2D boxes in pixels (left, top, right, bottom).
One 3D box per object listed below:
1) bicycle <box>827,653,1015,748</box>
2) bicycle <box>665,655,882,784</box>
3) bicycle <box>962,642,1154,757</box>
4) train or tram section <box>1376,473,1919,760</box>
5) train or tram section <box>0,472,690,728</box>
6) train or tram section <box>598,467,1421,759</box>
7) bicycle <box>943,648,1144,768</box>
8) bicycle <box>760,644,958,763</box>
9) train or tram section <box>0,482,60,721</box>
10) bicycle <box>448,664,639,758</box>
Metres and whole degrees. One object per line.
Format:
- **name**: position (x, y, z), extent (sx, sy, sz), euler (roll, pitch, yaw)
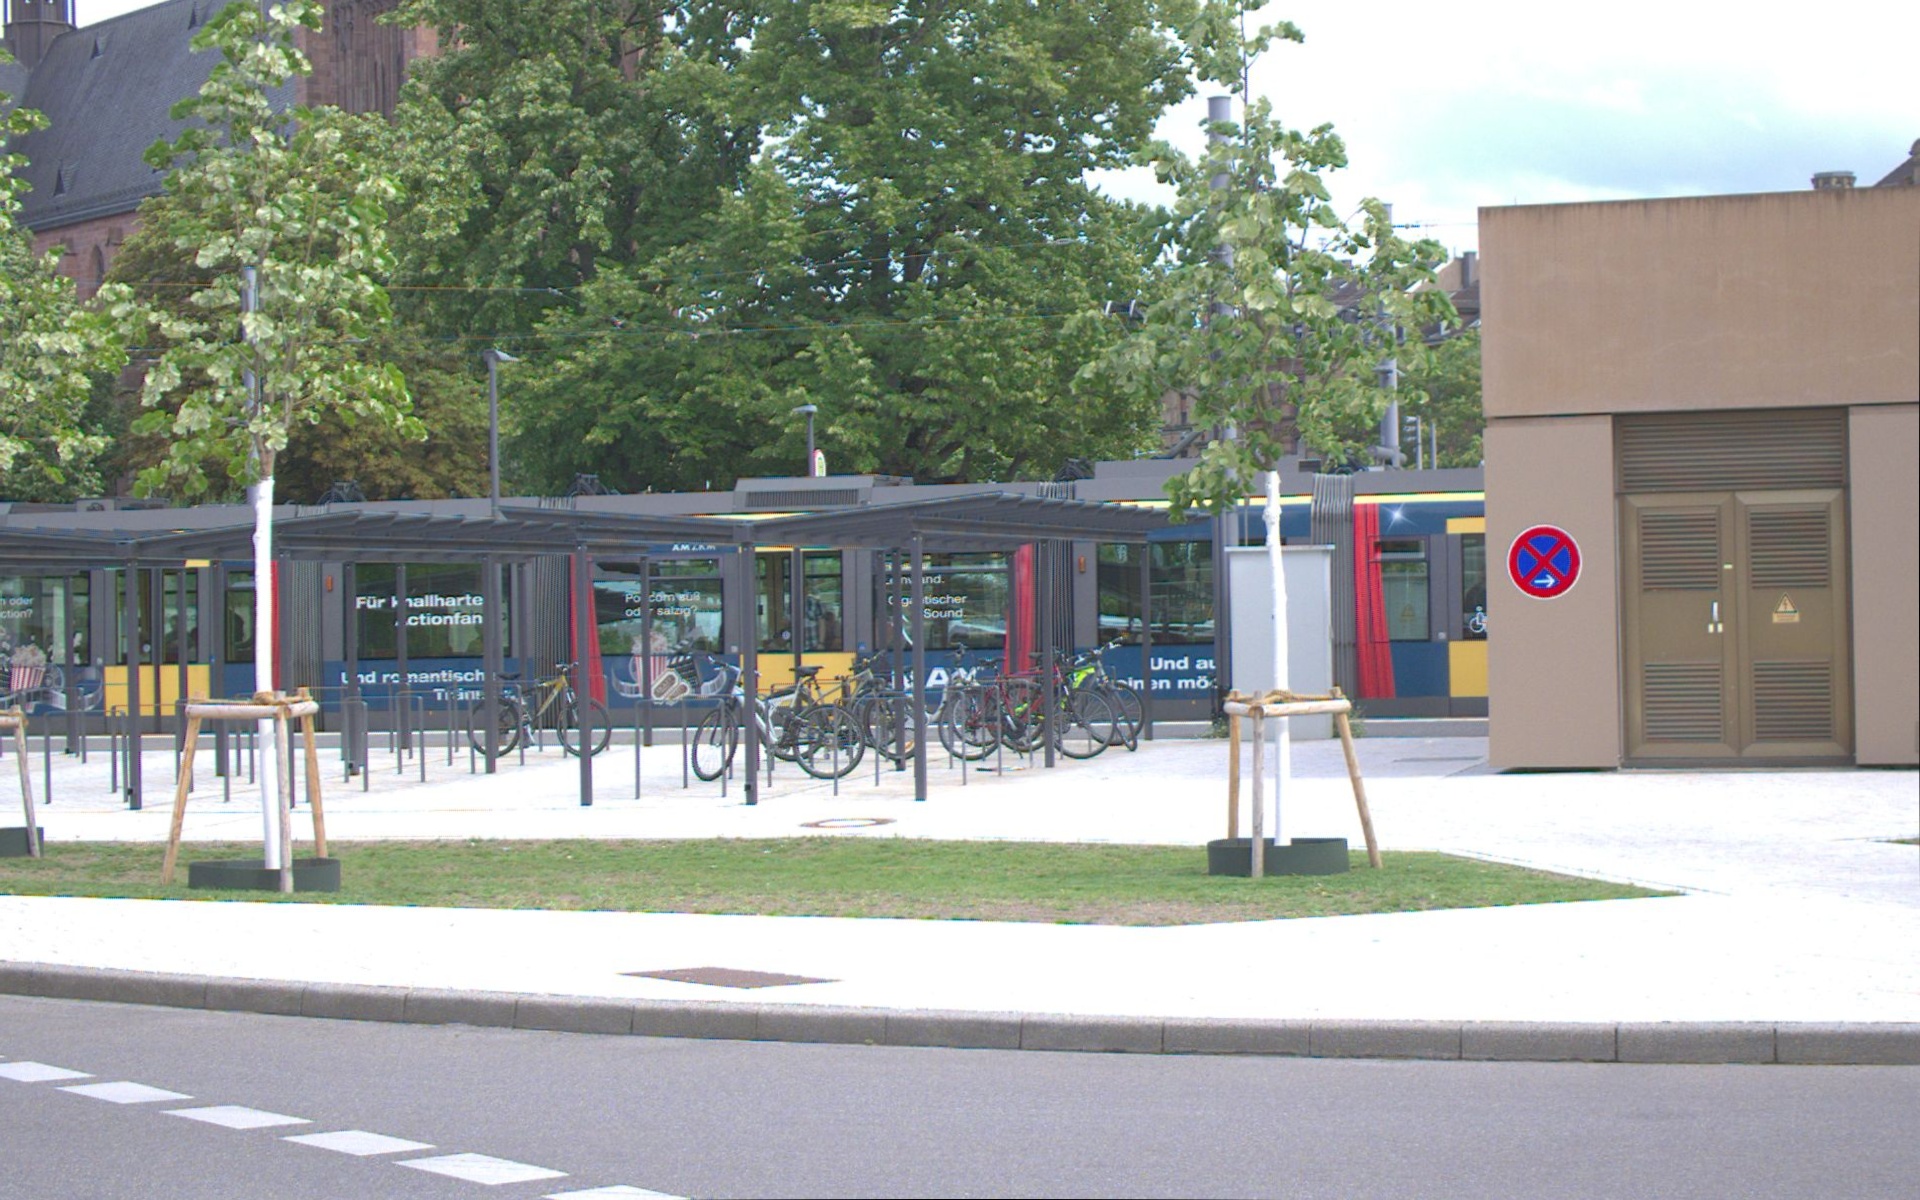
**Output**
- **bicycle**: position (-0.422, 1.085, 37.263), extent (1.961, 0.967, 0.584), euler (1, 1, 13)
- **bicycle**: position (-1.751, 1.119, 32.366), extent (1.960, 1.152, 0.584), euler (0, 1, 7)
- **bicycle**: position (1.028, 1.035, 35.891), extent (1.960, 1.152, 0.584), euler (0, 1, 7)
- **train or tram section**: position (9.881, 0.140, 40.729), extent (9.478, 3.235, 3.060), euler (1, 1, 15)
- **train or tram section**: position (-8.562, -0.087, 45.886), extent (9.406, 3.202, 3.060), euler (1, 1, 15)
- **train or tram section**: position (0.638, 0.061, 43.316), extent (9.905, 3.438, 3.060), euler (1, 1, 15)
- **bicycle**: position (0.841, 1.073, 34.447), extent (1.960, 1.152, 0.584), euler (0, 1, 7)
- **bicycle**: position (-1.025, 1.049, 35.054), extent (1.960, 1.152, 0.584), euler (0, 1, 7)
- **train or tram section**: position (-17.634, -0.032, 48.402), extent (9.346, 3.266, 3.060), euler (1, 1, 15)
- **bicycle**: position (-4.500, 1.194, 37.152), extent (1.961, 0.952, 0.584), euler (1, 1, 13)
